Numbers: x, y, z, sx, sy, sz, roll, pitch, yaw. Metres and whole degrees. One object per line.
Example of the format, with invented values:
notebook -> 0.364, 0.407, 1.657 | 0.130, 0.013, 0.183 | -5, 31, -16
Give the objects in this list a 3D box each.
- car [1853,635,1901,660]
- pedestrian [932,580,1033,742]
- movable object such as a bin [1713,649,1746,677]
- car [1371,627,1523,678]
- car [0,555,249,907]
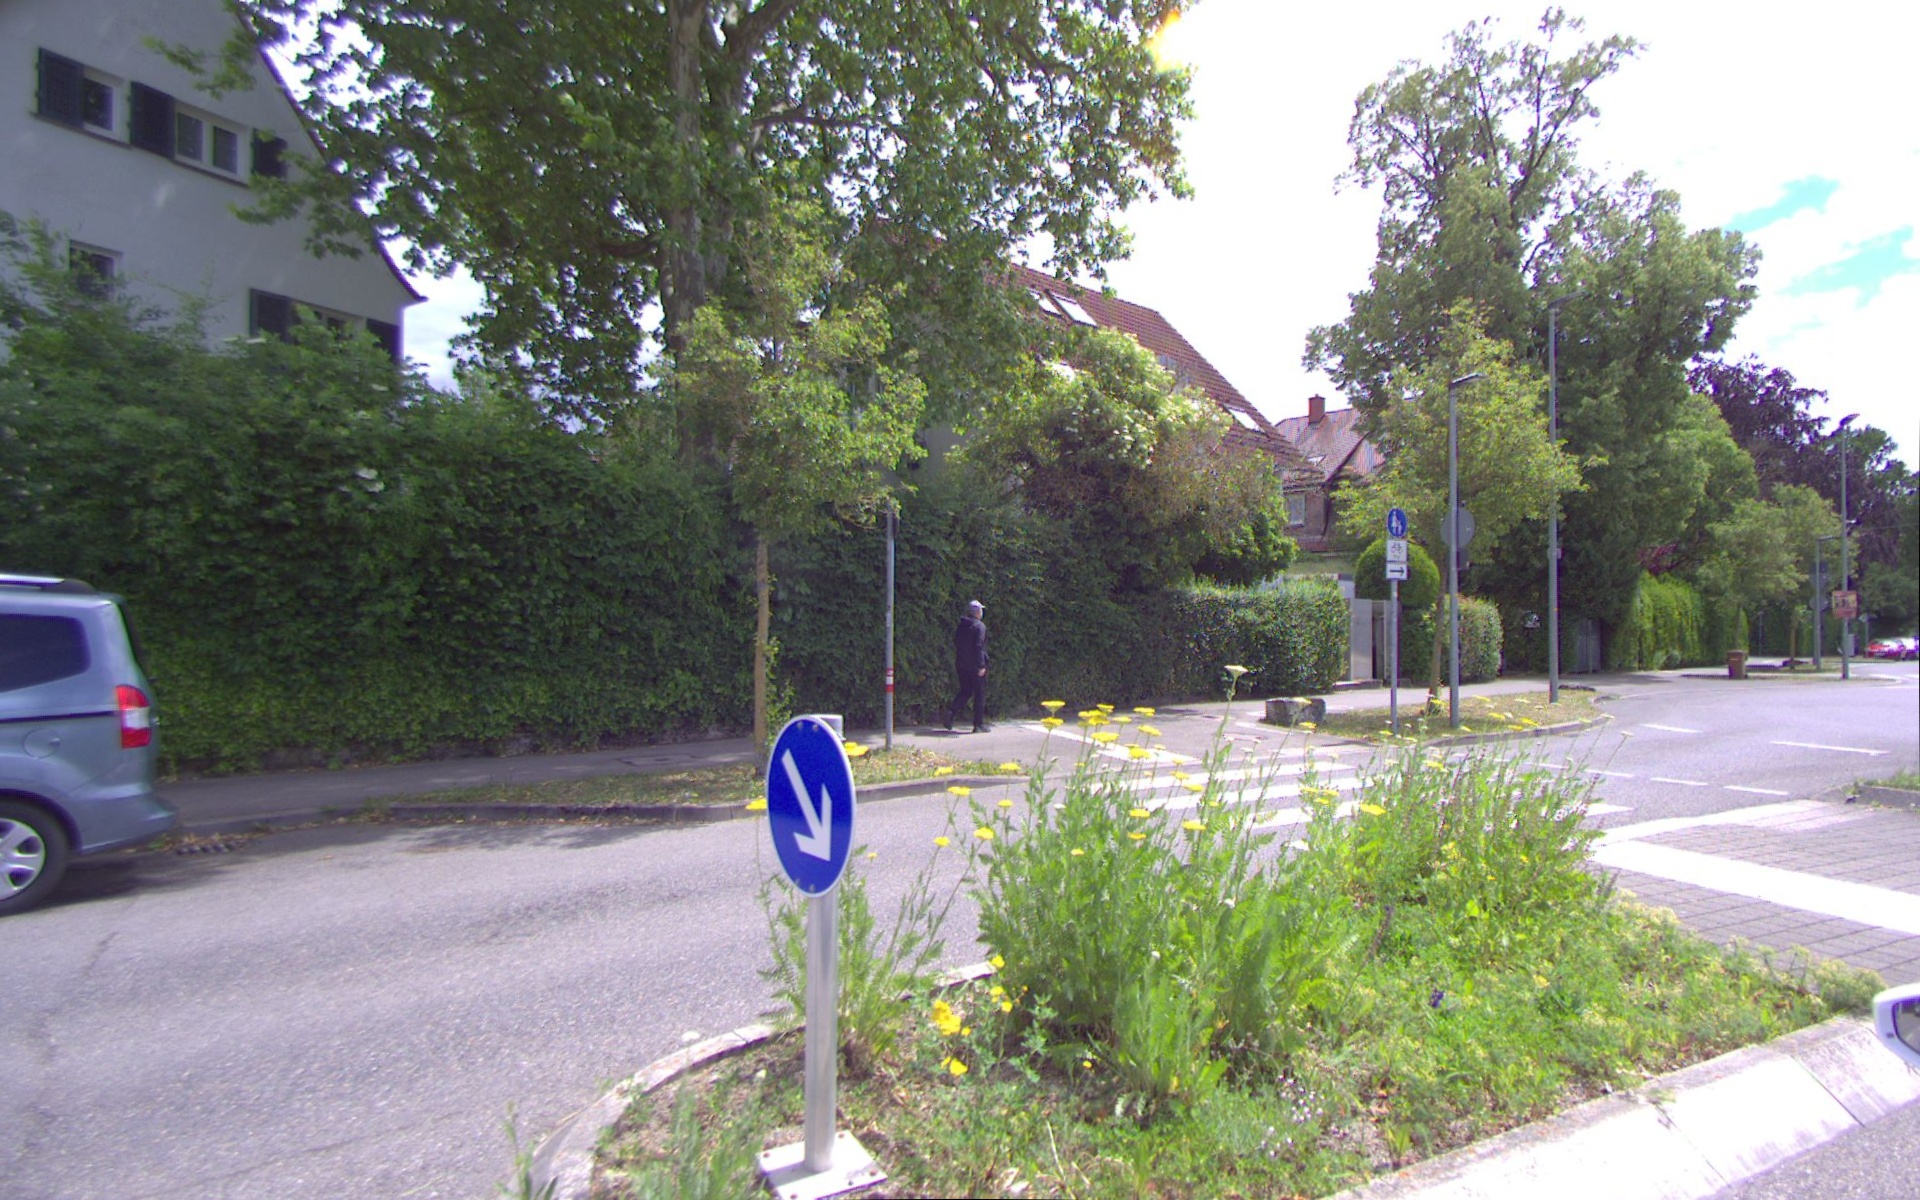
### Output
car -> 58.924, 3.039, 64.615 | 2.038, 1.405, 4.029 | -1, -1, 39
pedestrian -> 0.303, 0.796, 13.383 | 0.863, 2.040, 1.034 | -2, -2, 45
movable object such as a bin -> 24.786, 2.028, 32.366 | 0.632, 0.874, 0.627 | 1, -3, -30
car -> 15.474, 1.655, 32.106 | 1.975, 1.505, 3.971 | 0, -2, -28
car -> -6.426, 0.640, 4.939 | 2.108, 1.796, 4.441 | 2, 1, 42
